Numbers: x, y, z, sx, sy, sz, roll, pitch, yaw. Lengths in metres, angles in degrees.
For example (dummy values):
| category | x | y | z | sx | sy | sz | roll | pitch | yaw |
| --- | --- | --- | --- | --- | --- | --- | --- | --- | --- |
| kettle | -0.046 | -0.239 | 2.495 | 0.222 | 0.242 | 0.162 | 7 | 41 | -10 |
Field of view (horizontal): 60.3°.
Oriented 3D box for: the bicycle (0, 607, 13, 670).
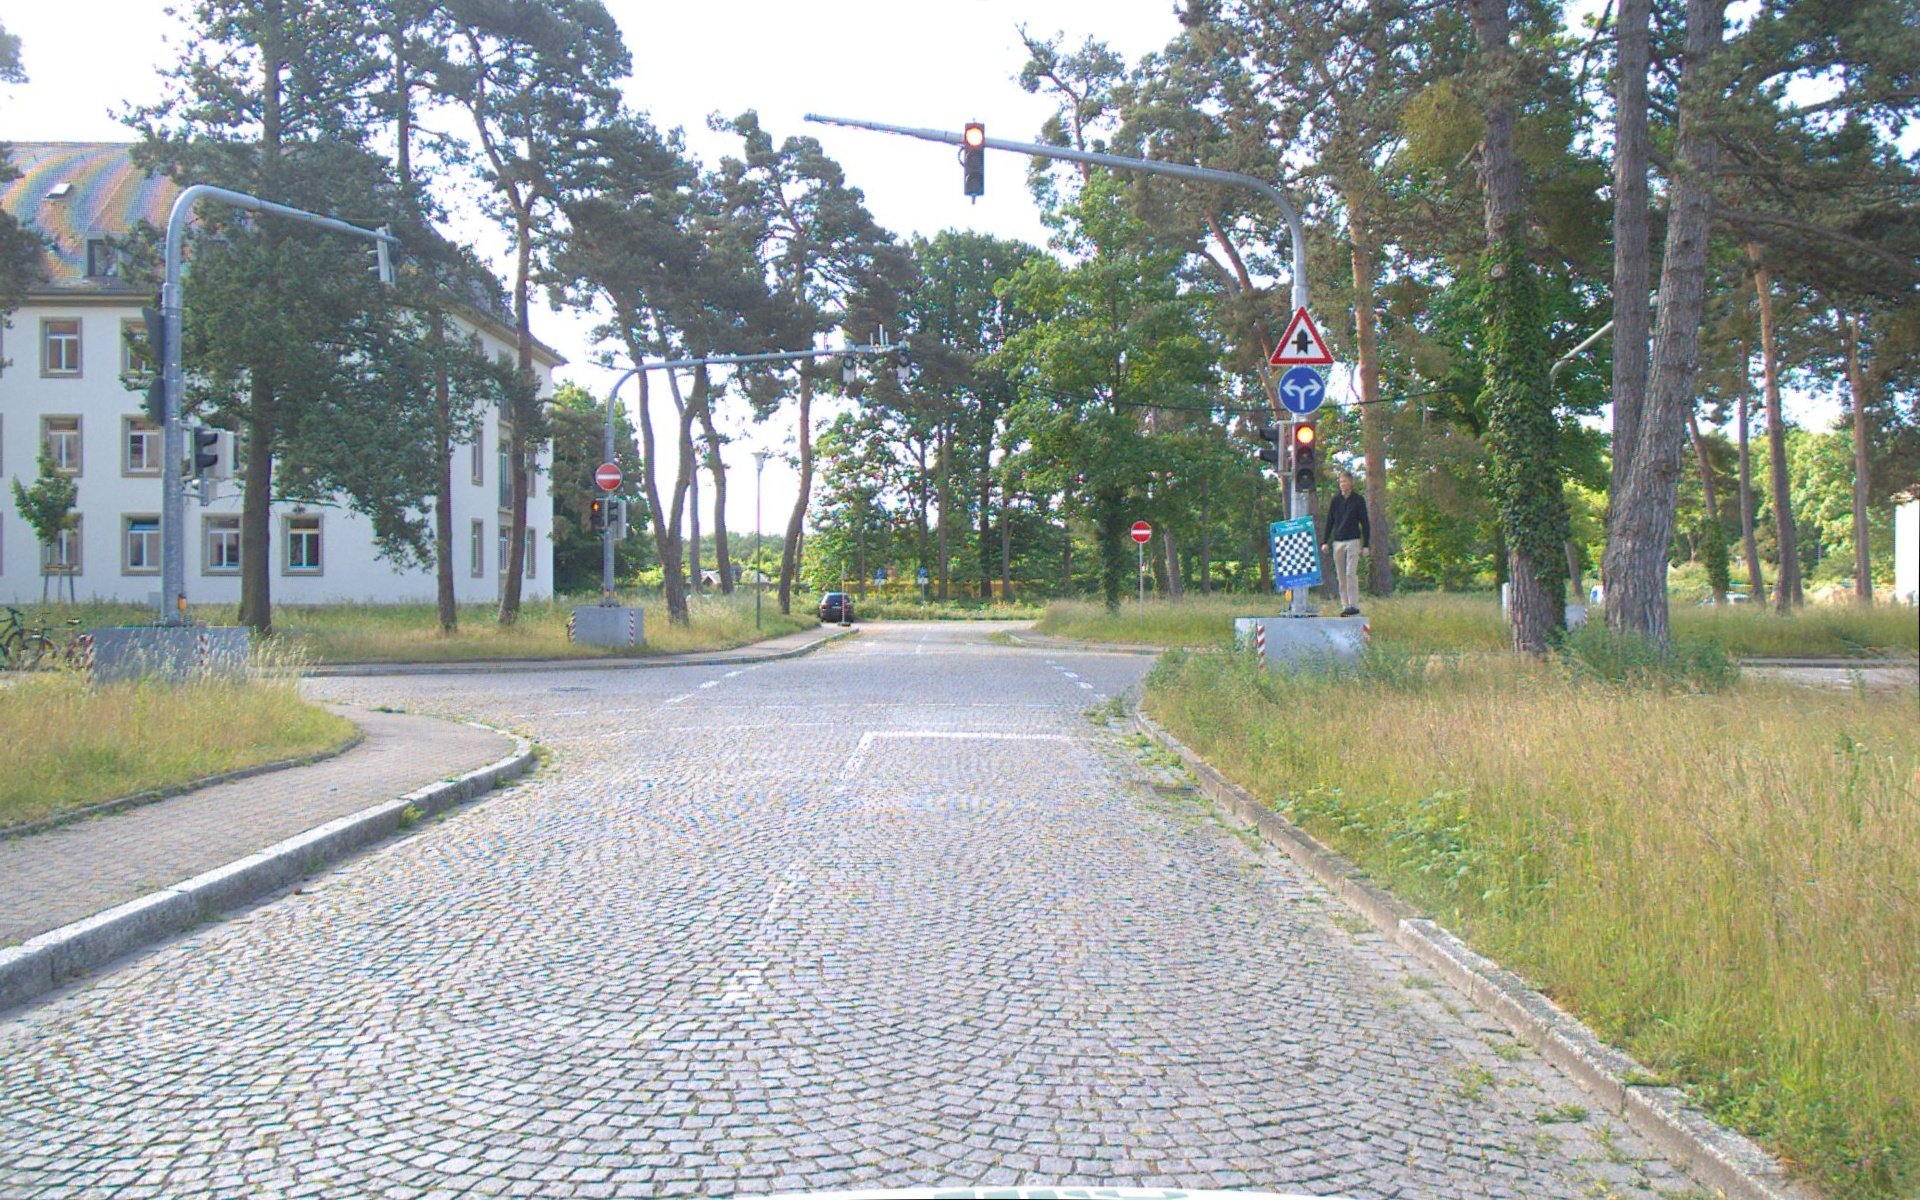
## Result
| category | x | y | z | sx | sy | sz | roll | pitch | yaw |
| --- | --- | --- | --- | --- | --- | --- | --- | --- | --- |
| bicycle | -19.099 | 0.762 | 31.799 | 0.620 | 1.242 | 2.104 | 0 | 0 | -1 |

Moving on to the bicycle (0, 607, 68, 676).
| category | x | y | z | sx | sy | sz | roll | pitch | yaw |
| --- | --- | --- | --- | --- | --- | --- | --- | --- | --- |
| bicycle | -18.030 | 0.778 | 31.826 | 0.620 | 1.242 | 2.114 | 0 | 0 | -1 |

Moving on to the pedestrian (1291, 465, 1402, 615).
| category | x | y | z | sx | sy | sz | roll | pitch | yaw |
| --- | --- | --- | --- | --- | --- | --- | --- | --- | --- |
| pedestrian | 4.936 | -0.745 | 21.086 | 1.145 | 1.827 | 1.062 | -1 | 0 | 26 |

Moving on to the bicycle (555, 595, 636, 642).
| category | x | y | z | sx | sy | sz | roll | pitch | yaw |
| --- | --- | --- | --- | --- | --- | --- | --- | --- | --- |
| bicycle | -8.620 | 0.427 | 39.186 | 0.623 | 1.084 | 1.942 | 0 | 0 | 37 |

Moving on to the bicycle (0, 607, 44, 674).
| category | x | y | z | sx | sy | sz | roll | pitch | yaw |
| --- | --- | --- | --- | --- | --- | --- | --- | --- | --- |
| bicycle | -18.505 | 0.771 | 31.806 | 0.620 | 1.242 | 2.123 | 0 | 0 | -1 |

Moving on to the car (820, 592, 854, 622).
| category | x | y | z | sx | sy | sz | roll | pitch | yaw |
| --- | --- | --- | --- | --- | --- | --- | --- | --- | --- |
| car | -6.576 | 0.353 | 88.611 | 1.675 | 1.522 | 3.917 | 0 | 0 | -3 |

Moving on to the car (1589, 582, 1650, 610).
| category | x | y | z | sx | sy | sz | roll | pitch | yaw |
| --- | --- | --- | --- | --- | --- | --- | --- | --- | --- |
| car | 37.891 | -0.245 | 95.160 | 1.790 | 1.609 | 4.162 | 0 | 0 | -1 |

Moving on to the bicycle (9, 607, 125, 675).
| category | x | y | z | sx | sy | sz | roll | pitch | yaw |
| --- | --- | --- | --- | --- | --- | --- | --- | --- | --- |
| bicycle | -16.781 | 0.759 | 31.096 | 1.824 | 1.242 | 0.635 | 0 | 0 | -1 |

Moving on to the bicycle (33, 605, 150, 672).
| category | x | y | z | sx | sy | sz | roll | pitch | yaw |
| --- | --- | --- | --- | --- | --- | --- | --- | --- | --- |
| bicycle | -16.691 | 0.734 | 31.812 | 1.905 | 1.242 | 0.635 | 0 | 0 | -1 |
